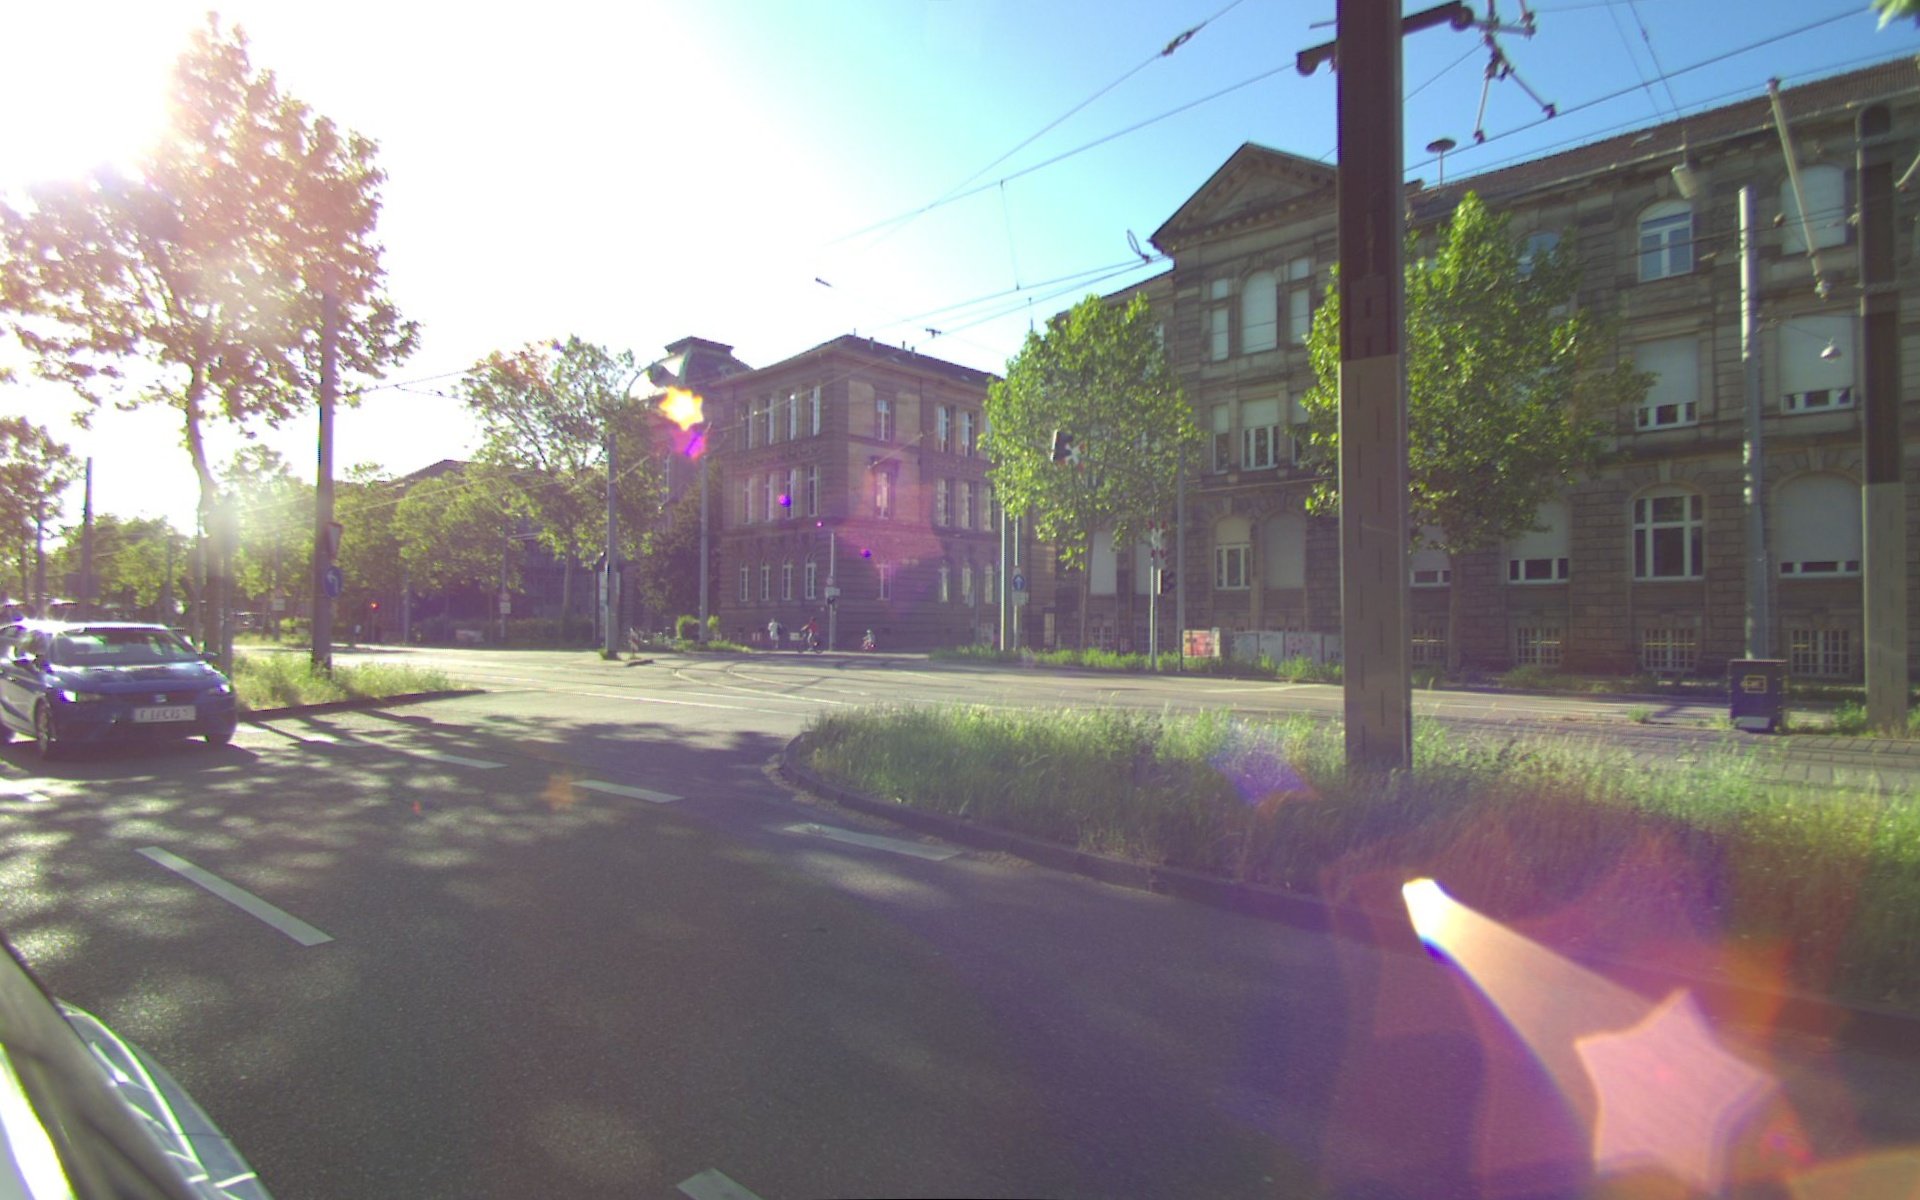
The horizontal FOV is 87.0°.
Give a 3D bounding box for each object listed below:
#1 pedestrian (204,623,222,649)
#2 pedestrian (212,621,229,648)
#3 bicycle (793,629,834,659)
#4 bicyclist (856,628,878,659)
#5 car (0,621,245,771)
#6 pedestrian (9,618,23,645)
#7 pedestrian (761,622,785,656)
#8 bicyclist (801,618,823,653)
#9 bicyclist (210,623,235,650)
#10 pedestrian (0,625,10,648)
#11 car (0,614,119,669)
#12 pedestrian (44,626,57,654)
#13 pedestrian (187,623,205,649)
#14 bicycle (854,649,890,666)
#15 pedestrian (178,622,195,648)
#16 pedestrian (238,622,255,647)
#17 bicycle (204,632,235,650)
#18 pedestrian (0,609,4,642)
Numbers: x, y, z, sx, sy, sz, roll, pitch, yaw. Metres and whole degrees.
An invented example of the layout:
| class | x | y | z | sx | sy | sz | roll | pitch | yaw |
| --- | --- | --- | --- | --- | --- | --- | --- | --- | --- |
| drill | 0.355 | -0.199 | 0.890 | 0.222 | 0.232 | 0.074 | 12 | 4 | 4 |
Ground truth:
| class | x | y | z | sx | sy | sz | roll | pitch | yaw |
| --- | --- | --- | --- | --- | --- | --- | --- | --- | --- |
| pedestrian | -48.717 | 2.335 | 66.009 | 0.692 | 1.656 | 0.593 | -1 | 0 | 7 |
| pedestrian | -49.123 | 2.307 | 67.194 | 0.692 | 1.749 | 0.592 | -1 | 0 | 11 |
| bicycle | -7.125 | 2.144 | 49.141 | 2.349 | 1.400 | 0.519 | -1 | 0 | 41 |
| bicyclist | -4.526 | 2.106 | 49.337 | 0.729 | 1.473 | 0.787 | -1 | 0 | 38 |
| car | -10.130 | 1.008 | 11.967 | 3.864 | 1.459 | 1.756 | -2 | -1 | 39 |
| pedestrian | -60.081 | 2.021 | 64.421 | 0.572 | 1.674 | 0.668 | -1 | 0 | -38 |
| pedestrian | -10.209 | 2.139 | 55.226 | 1.003 | 1.814 | 0.853 | -1 | 0 | 45 |
| bicyclist | -7.194 | 1.721 | 49.175 | 0.870 | 1.636 | 0.667 | -2 | -1 | 40 |
| bicyclist | -47.051 | 2.325 | 64.558 | 0.826 | 1.656 | 0.965 | -1 | 0 | 11 |
| pedestrian | -52.541 | 2.025 | 55.499 | 0.424 | 1.242 | 0.587 | -1 | 0 | 33 |
| car | -28.332 | 1.273 | 31.298 | 3.826 | 1.607 | 1.660 | -1 | 0 | 15 |
| pedestrian | -54.731 | 2.402 | 60.890 | 0.537 | 1.674 | 0.731 | -1 | 0 | -42 |
| pedestrian | -50.480 | 2.360 | 66.879 | 0.692 | 1.689 | 0.592 | -1 | 0 | 11 |
| bicycle | -4.309 | 2.792 | 49.206 | 1.898 | 0.727 | 0.520 | -1 | 0 | 38 |
| pedestrian | -51.645 | 2.331 | 67.590 | 0.692 | 1.758 | 0.592 | -1 | 0 | 11 |
| pedestrian | -46.998 | 2.263 | 66.672 | 0.692 | 1.633 | 0.592 | -1 | 0 | 11 |
| bicycle | -47.227 | 2.623 | 64.576 | 0.539 | 1.049 | 1.657 | 0 | 0 | 12 |
| pedestrian | -64.449 | 1.701 | 67.519 | 0.773 | 2.204 | 0.803 | -1 | 0 | -26 |
